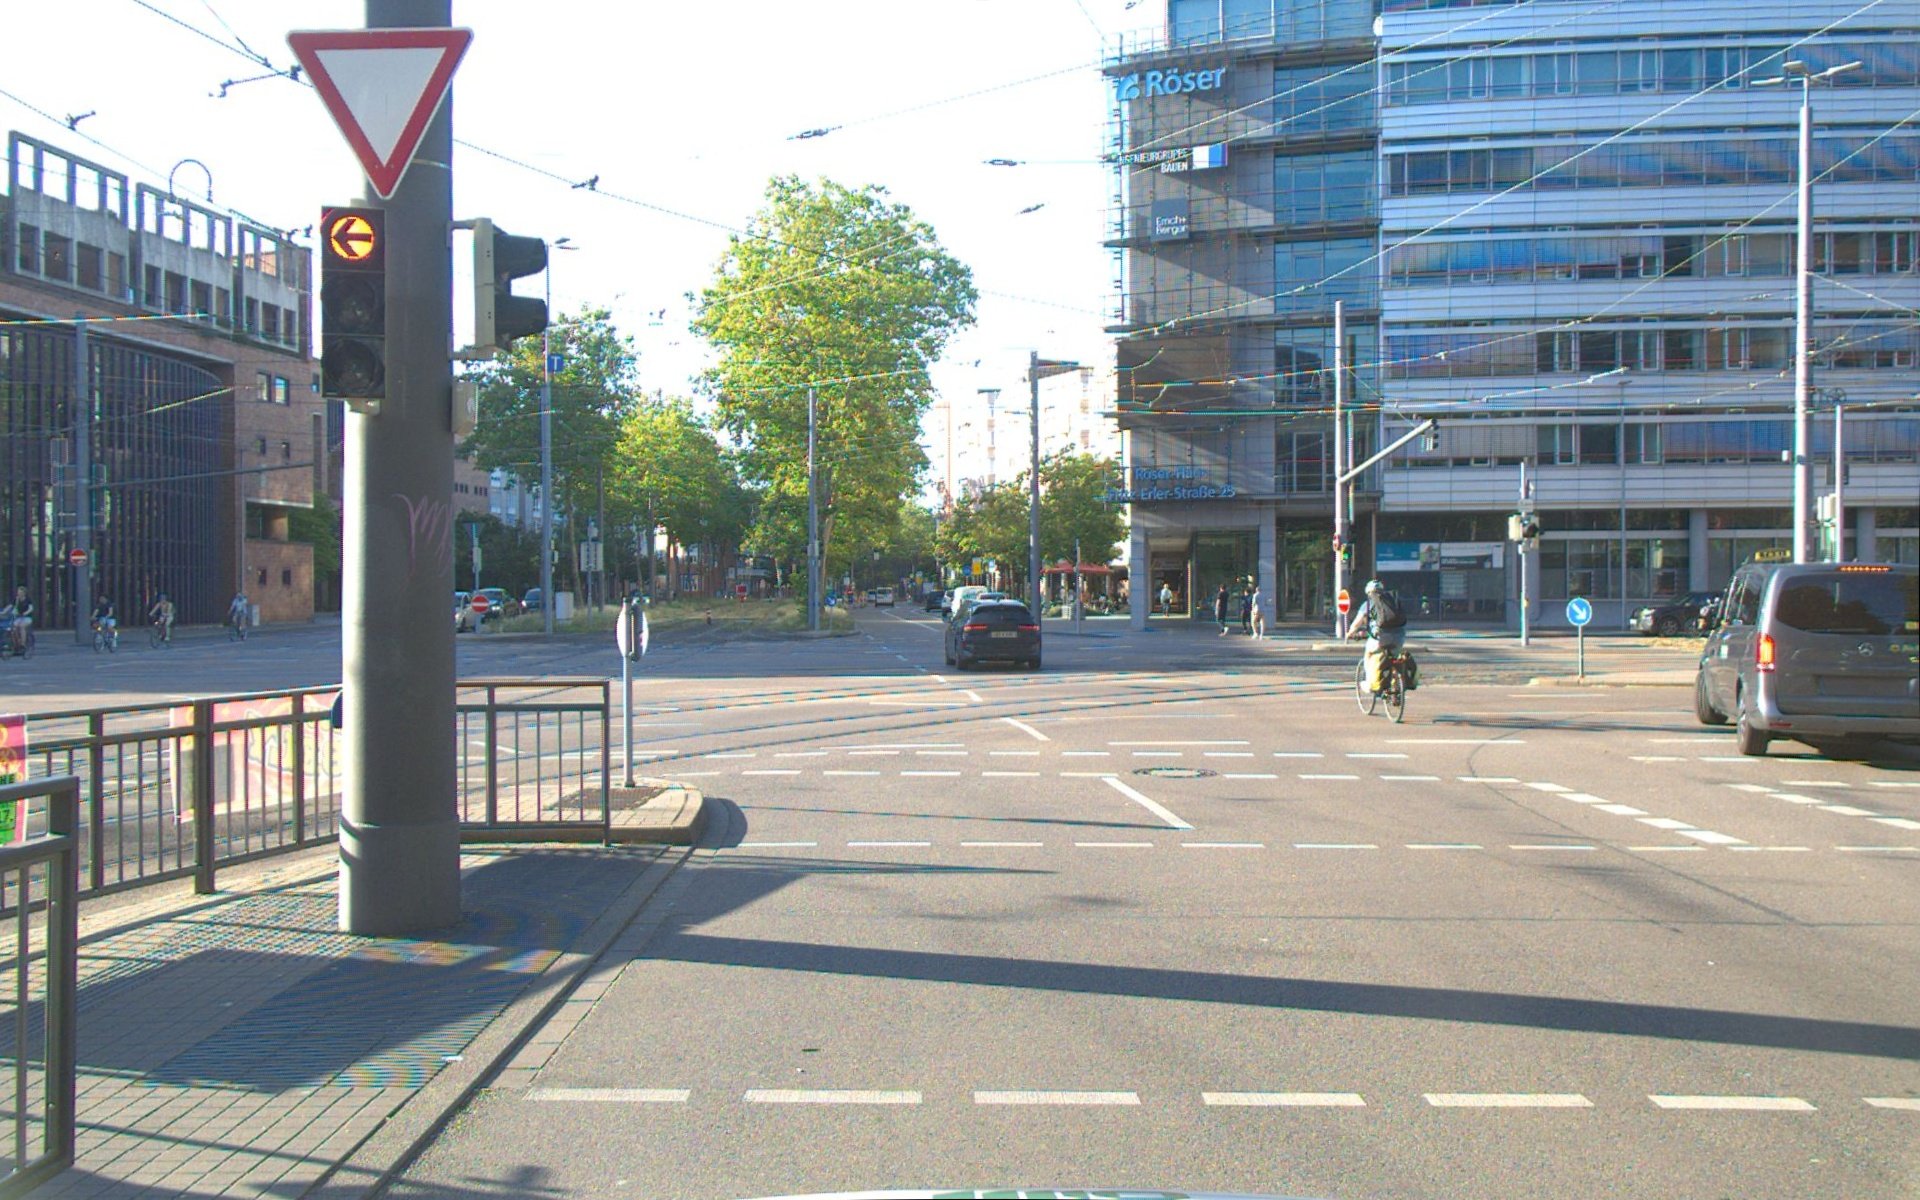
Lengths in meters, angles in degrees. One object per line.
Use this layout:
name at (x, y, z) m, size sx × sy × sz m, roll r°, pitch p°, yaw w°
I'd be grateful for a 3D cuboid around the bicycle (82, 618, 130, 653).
bicycle at (-25.939, 1.073, 50.285) m, size 0.680 × 1.016 × 1.898 m, roll -1°, pitch 0°, yaw -8°

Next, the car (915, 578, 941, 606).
car at (-2.435, -0.590, 126.516) m, size 1.953 × 2.049 × 3.999 m, roll 1°, pitch 0°, yaw -1°

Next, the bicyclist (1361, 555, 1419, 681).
bicyclist at (5.127, 0.210, 19.736) m, size 0.477 × 1.464 × 0.615 m, roll 2°, pitch 0°, yaw -1°

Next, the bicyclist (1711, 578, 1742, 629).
bicyclist at (23.096, 0.101, 49.849) m, size 0.649 × 1.529 × 0.613 m, roll -1°, pitch 0°, yaw 4°

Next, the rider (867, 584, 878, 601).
rider at (-10.920, -0.973, 205.856) m, size 1.246 × 2.049 × 0.954 m, roll 1°, pitch -1°, yaw -7°

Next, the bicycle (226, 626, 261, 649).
bicycle at (-26.435, 1.370, 61.077) m, size 0.578 × 0.784 × 1.966 m, roll -1°, pitch 0°, yaw -5°

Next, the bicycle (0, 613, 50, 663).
bicycle at (-24.392, 0.970, 42.962) m, size 0.672 × 1.162 × 2.106 m, roll -1°, pitch 2°, yaw -10°

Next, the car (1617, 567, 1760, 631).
car at (24.396, -0.035, 55.466) m, size 3.906 × 2.049 × 2.000 m, roll 1°, pitch 0°, yaw -1°

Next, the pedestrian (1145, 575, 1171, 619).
pedestrian at (10.128, -0.140, 84.657) m, size 1.285 × 2.228 × 1.171 m, roll 1°, pitch -1°, yaw 5°

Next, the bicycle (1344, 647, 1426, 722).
bicycle at (5.111, 0.999, 19.979) m, size 0.481 × 0.802 × 1.861 m, roll 1°, pitch 0°, yaw -1°

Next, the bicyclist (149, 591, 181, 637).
bicyclist at (-26.188, 0.474, 54.499) m, size 0.640 × 1.500 × 1.031 m, roll 0°, pitch 0°, yaw -6°

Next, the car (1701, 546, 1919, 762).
car at (9.014, 0.462, 17.251) m, size 1.959 × 1.929 × 4.884 m, roll 0°, pitch 1°, yaw 20°

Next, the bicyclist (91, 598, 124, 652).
bicyclist at (-25.925, 0.749, 50.297) m, size 0.648 × 1.597 × 0.757 m, roll -1°, pitch 0°, yaw -8°

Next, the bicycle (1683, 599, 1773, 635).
bicycle at (23.135, 0.504, 49.841) m, size 2.359 × 1.040 × 0.637 m, roll -1°, pitch 0°, yaw 4°

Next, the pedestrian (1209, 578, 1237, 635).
pedestrian at (9.508, 0.226, 59.830) m, size 0.832 × 2.049 × 0.707 m, roll 1°, pitch -1°, yaw -2°

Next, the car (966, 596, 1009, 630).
car at (1.339, 0.665, 82.793) m, size 1.988 × 1.624 × 3.999 m, roll 1°, pitch 0°, yaw -1°

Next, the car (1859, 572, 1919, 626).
car at (29.411, -0.001, 49.580) m, size 3.903 × 1.579 × 1.798 m, roll 1°, pitch 0°, yaw 4°

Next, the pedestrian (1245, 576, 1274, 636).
pedestrian at (10.525, 0.210, 58.162) m, size 0.852 × 2.049 × 0.793 m, roll 1°, pitch -1°, yaw -1°

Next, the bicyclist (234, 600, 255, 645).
bicyclist at (-26.448, 0.835, 61.122) m, size 0.575 × 1.654 × 0.514 m, roll -1°, pitch 0°, yaw -6°

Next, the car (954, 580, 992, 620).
car at (0.681, 0.005, 89.646) m, size 1.953 × 2.049 × 3.999 m, roll 1°, pitch 0°, yaw -1°

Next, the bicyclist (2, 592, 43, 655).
bicyclist at (-24.404, 0.610, 43.048) m, size 0.669 × 1.587 × 0.757 m, roll -1°, pitch 2°, yaw -10°

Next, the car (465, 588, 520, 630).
car at (-21.088, 0.370, 74.724) m, size 1.787 × 1.821 × 3.994 m, roll -1°, pitch 0°, yaw -7°

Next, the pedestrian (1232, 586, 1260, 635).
pedestrian at (10.353, 0.370, 59.829) m, size 0.852 × 1.737 × 0.793 m, roll 1°, pitch -1°, yaw -1°

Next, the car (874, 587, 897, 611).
car at (-7.218, -0.090, 159.965) m, size 1.952 × 2.049 × 3.999 m, roll 1°, pitch -3°, yaw 0°

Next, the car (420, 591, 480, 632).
car at (-20.621, 0.451, 66.967) m, size 1.591 × 1.604 × 3.994 m, roll -1°, pitch 0°, yaw -7°

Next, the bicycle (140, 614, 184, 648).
bicycle at (-26.151, 1.001, 54.205) m, size 0.639 × 1.068 × 2.010 m, roll 0°, pitch 0°, yaw -6°

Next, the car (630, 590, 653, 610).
car at (-27.106, 0.011, 140.903) m, size 1.644 × 1.635 × 3.994 m, roll 1°, pitch 0°, yaw -7°

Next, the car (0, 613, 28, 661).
car at (-28.820, 1.104, 47.884) m, size 1.548 × 1.400 × 3.716 m, roll -1°, pitch 0°, yaw 0°

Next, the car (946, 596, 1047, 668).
car at (0.715, 0.629, 35.073) m, size 1.729 × 1.429 × 4.292 m, roll 0°, pitch 0°, yaw -5°
